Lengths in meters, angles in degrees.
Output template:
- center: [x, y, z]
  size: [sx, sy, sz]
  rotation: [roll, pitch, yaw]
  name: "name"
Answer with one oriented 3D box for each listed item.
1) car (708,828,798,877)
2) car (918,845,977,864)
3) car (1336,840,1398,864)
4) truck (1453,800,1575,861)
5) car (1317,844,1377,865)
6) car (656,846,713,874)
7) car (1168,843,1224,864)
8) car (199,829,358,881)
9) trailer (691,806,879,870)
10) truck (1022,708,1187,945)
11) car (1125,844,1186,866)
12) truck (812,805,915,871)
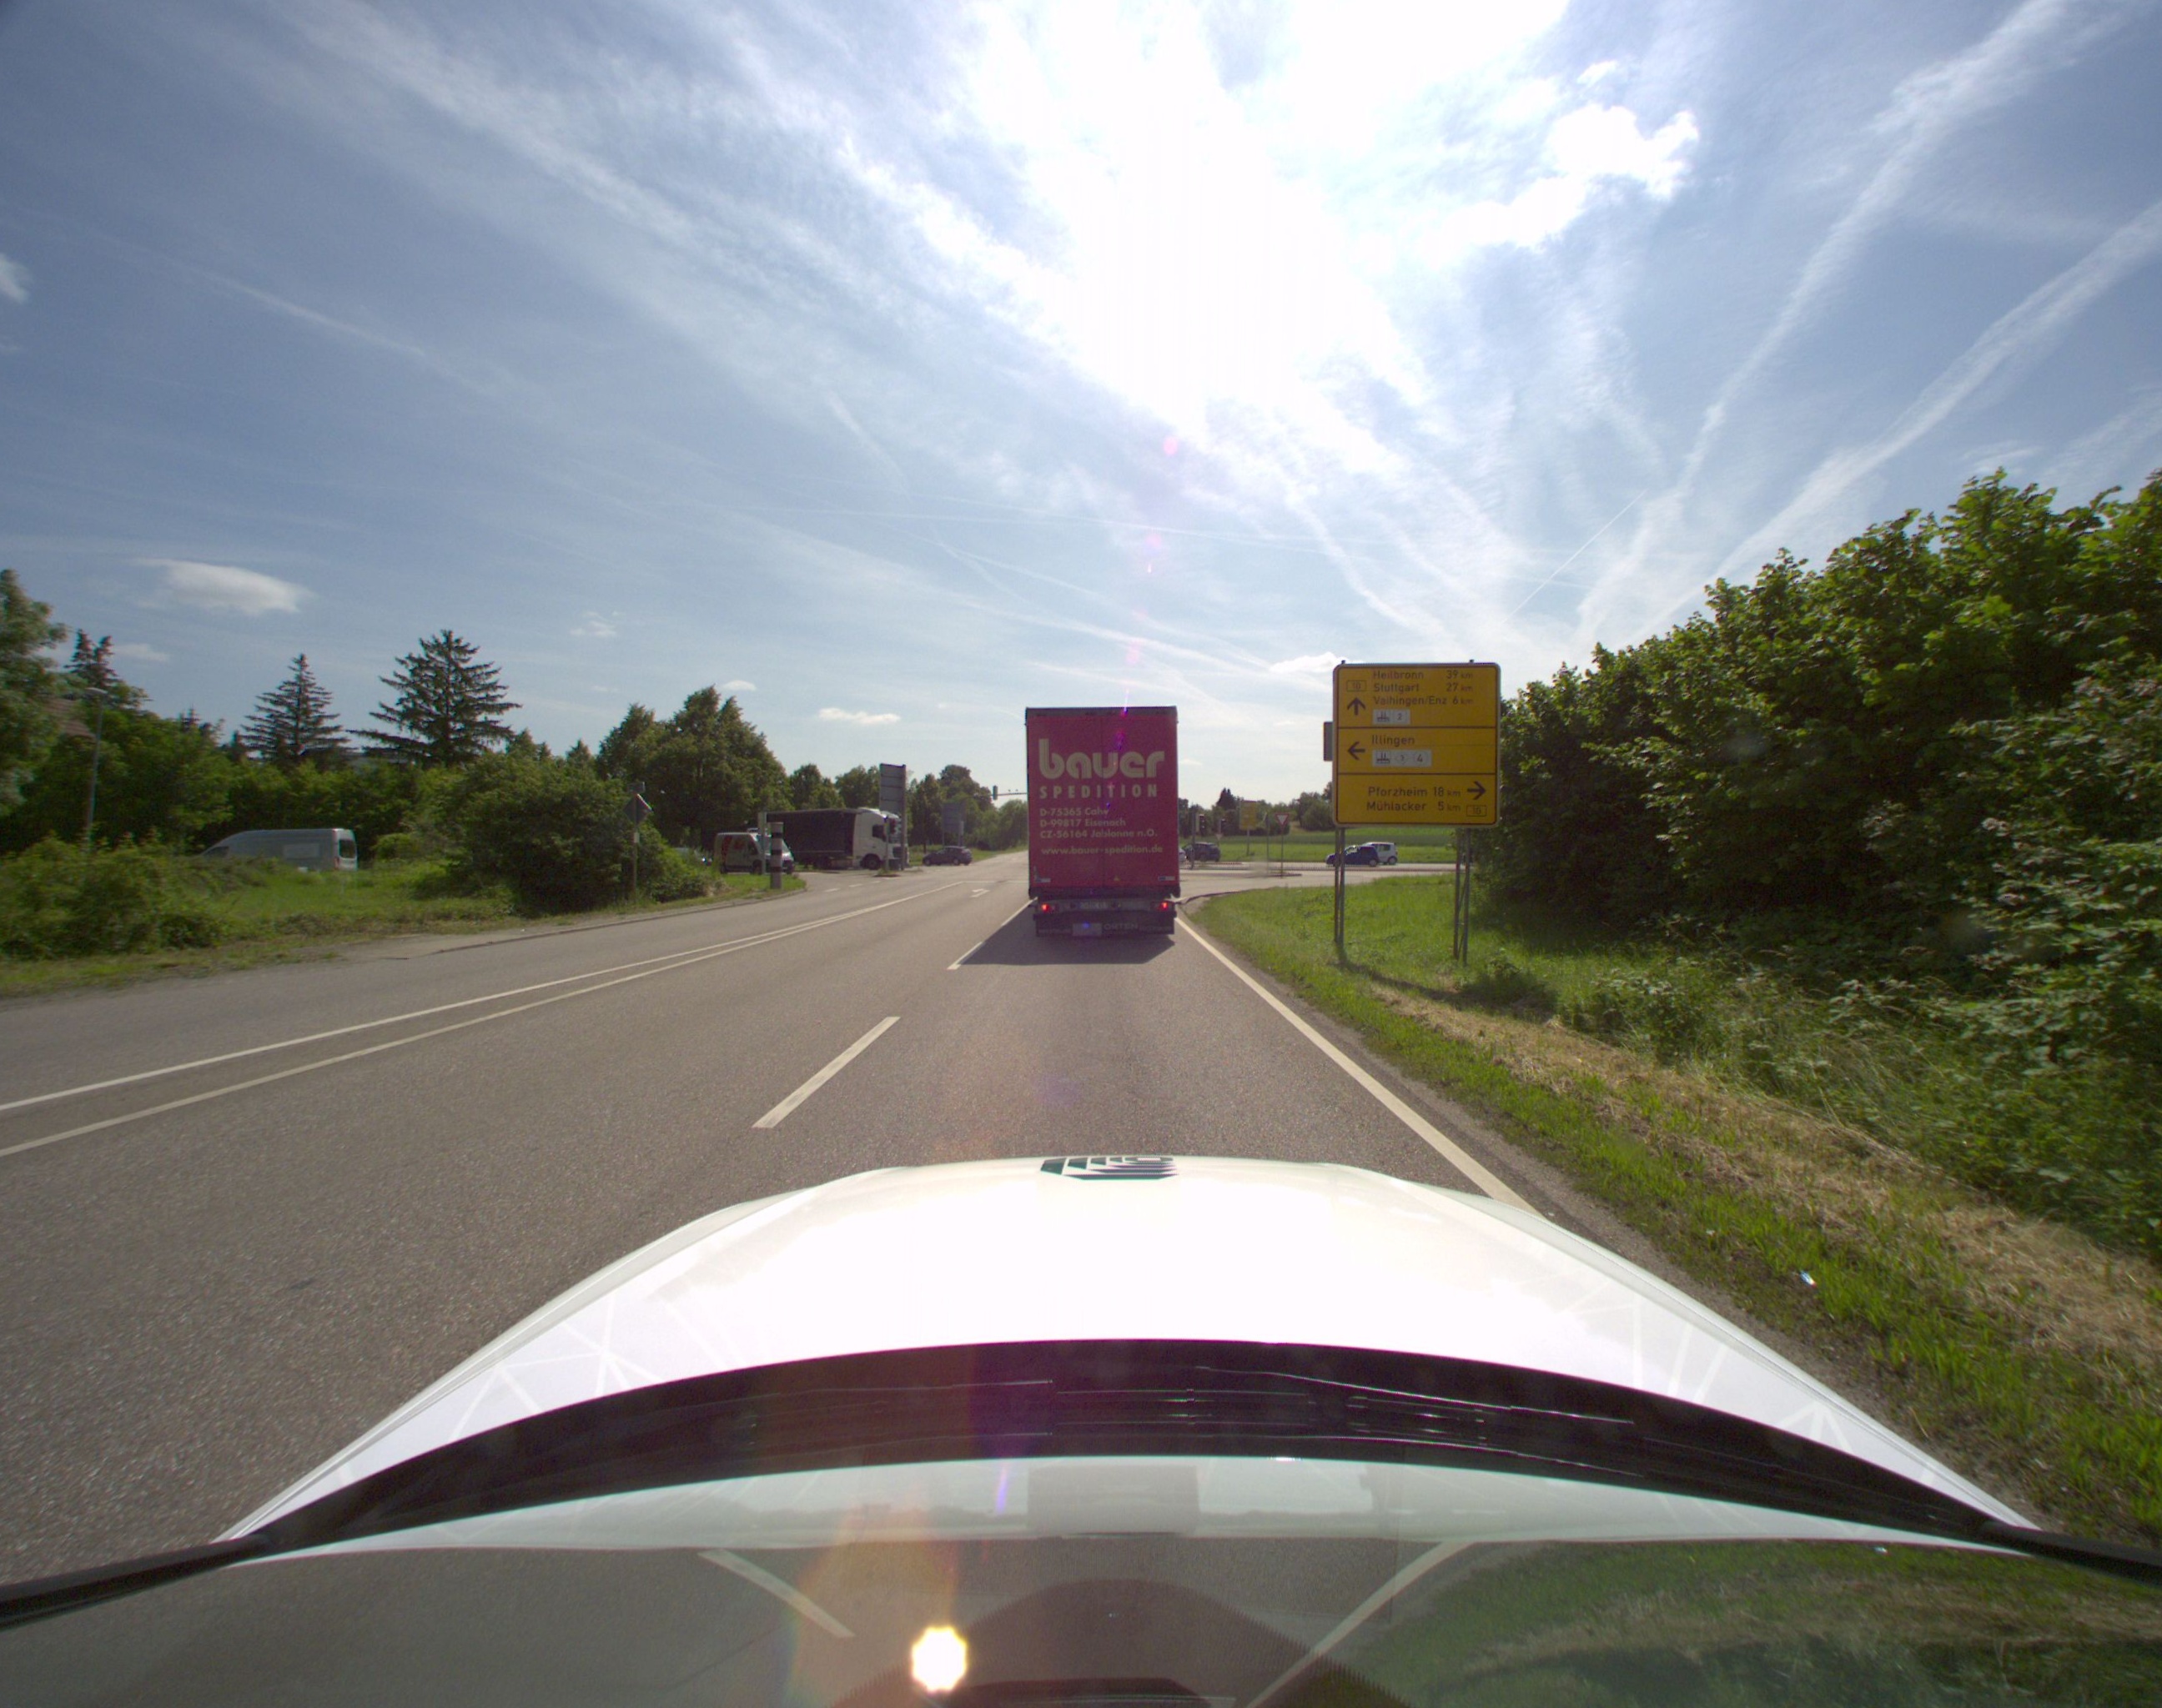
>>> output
- center: [-19.006, -0.110, 47.067]
  size: [5.909, 2.654, 2.138]
  rotation: [-1, 1, 38]
  name: "car"
- center: [-10.241, 0.069, 62.692]
  size: [3.957, 1.429, 2.008]
  rotation: [0, 0, 15]
  name: "car"
- center: [20.229, -0.119, 57.661]
  size: [3.808, 1.633, 1.764]
  rotation: [-1, -1, 5]
  name: "car"
- center: [29.444, -1.550, 55.721]
  size: [6.876, 3.993, 3.041]
  rotation: [0, 1, 16]
  name: "truck"
- center: [17.849, 0.014, 54.775]
  size: [3.819, 1.357, 1.683]
  rotation: [0, 0, 15]
  name: "car"
- center: [-25.554, 0.349, 52.471]
  size: [4.058, 1.750, 1.884]
  rotation: [0, 0, 41]
  name: "car"
- center: [9.232, -0.045, 65.480]
  size: [4.232, 1.656, 1.710]
  rotation: [-1, -1, 40]
  name: "car"
- center: [-35.675, 0.055, 36.365]
  size: [4.601, 2.180, 1.985]
  rotation: [0, 0, -22]
  name: "car"
- center: [-20.124, -1.056, 54.944]
  size: [13.563, 4.061, 2.814]
  rotation: [0, 1, 23]
  name: "trailer"
- center: [0.568, -0.550, 21.922]
  size: [2.725, 3.925, 16.629]
  rotation: [-1, 1, 1]
  name: "truck"
- center: [5.364, 0.082, 58.243]
  size: [4.070, 1.547, 1.880]
  rotation: [0, -1, 13]
  name: "car"
- center: [-14.008, -1.020, 52.433]
  size: [5.777, 4.061, 2.813]
  rotation: [0, 1, 20]
  name: "truck"
